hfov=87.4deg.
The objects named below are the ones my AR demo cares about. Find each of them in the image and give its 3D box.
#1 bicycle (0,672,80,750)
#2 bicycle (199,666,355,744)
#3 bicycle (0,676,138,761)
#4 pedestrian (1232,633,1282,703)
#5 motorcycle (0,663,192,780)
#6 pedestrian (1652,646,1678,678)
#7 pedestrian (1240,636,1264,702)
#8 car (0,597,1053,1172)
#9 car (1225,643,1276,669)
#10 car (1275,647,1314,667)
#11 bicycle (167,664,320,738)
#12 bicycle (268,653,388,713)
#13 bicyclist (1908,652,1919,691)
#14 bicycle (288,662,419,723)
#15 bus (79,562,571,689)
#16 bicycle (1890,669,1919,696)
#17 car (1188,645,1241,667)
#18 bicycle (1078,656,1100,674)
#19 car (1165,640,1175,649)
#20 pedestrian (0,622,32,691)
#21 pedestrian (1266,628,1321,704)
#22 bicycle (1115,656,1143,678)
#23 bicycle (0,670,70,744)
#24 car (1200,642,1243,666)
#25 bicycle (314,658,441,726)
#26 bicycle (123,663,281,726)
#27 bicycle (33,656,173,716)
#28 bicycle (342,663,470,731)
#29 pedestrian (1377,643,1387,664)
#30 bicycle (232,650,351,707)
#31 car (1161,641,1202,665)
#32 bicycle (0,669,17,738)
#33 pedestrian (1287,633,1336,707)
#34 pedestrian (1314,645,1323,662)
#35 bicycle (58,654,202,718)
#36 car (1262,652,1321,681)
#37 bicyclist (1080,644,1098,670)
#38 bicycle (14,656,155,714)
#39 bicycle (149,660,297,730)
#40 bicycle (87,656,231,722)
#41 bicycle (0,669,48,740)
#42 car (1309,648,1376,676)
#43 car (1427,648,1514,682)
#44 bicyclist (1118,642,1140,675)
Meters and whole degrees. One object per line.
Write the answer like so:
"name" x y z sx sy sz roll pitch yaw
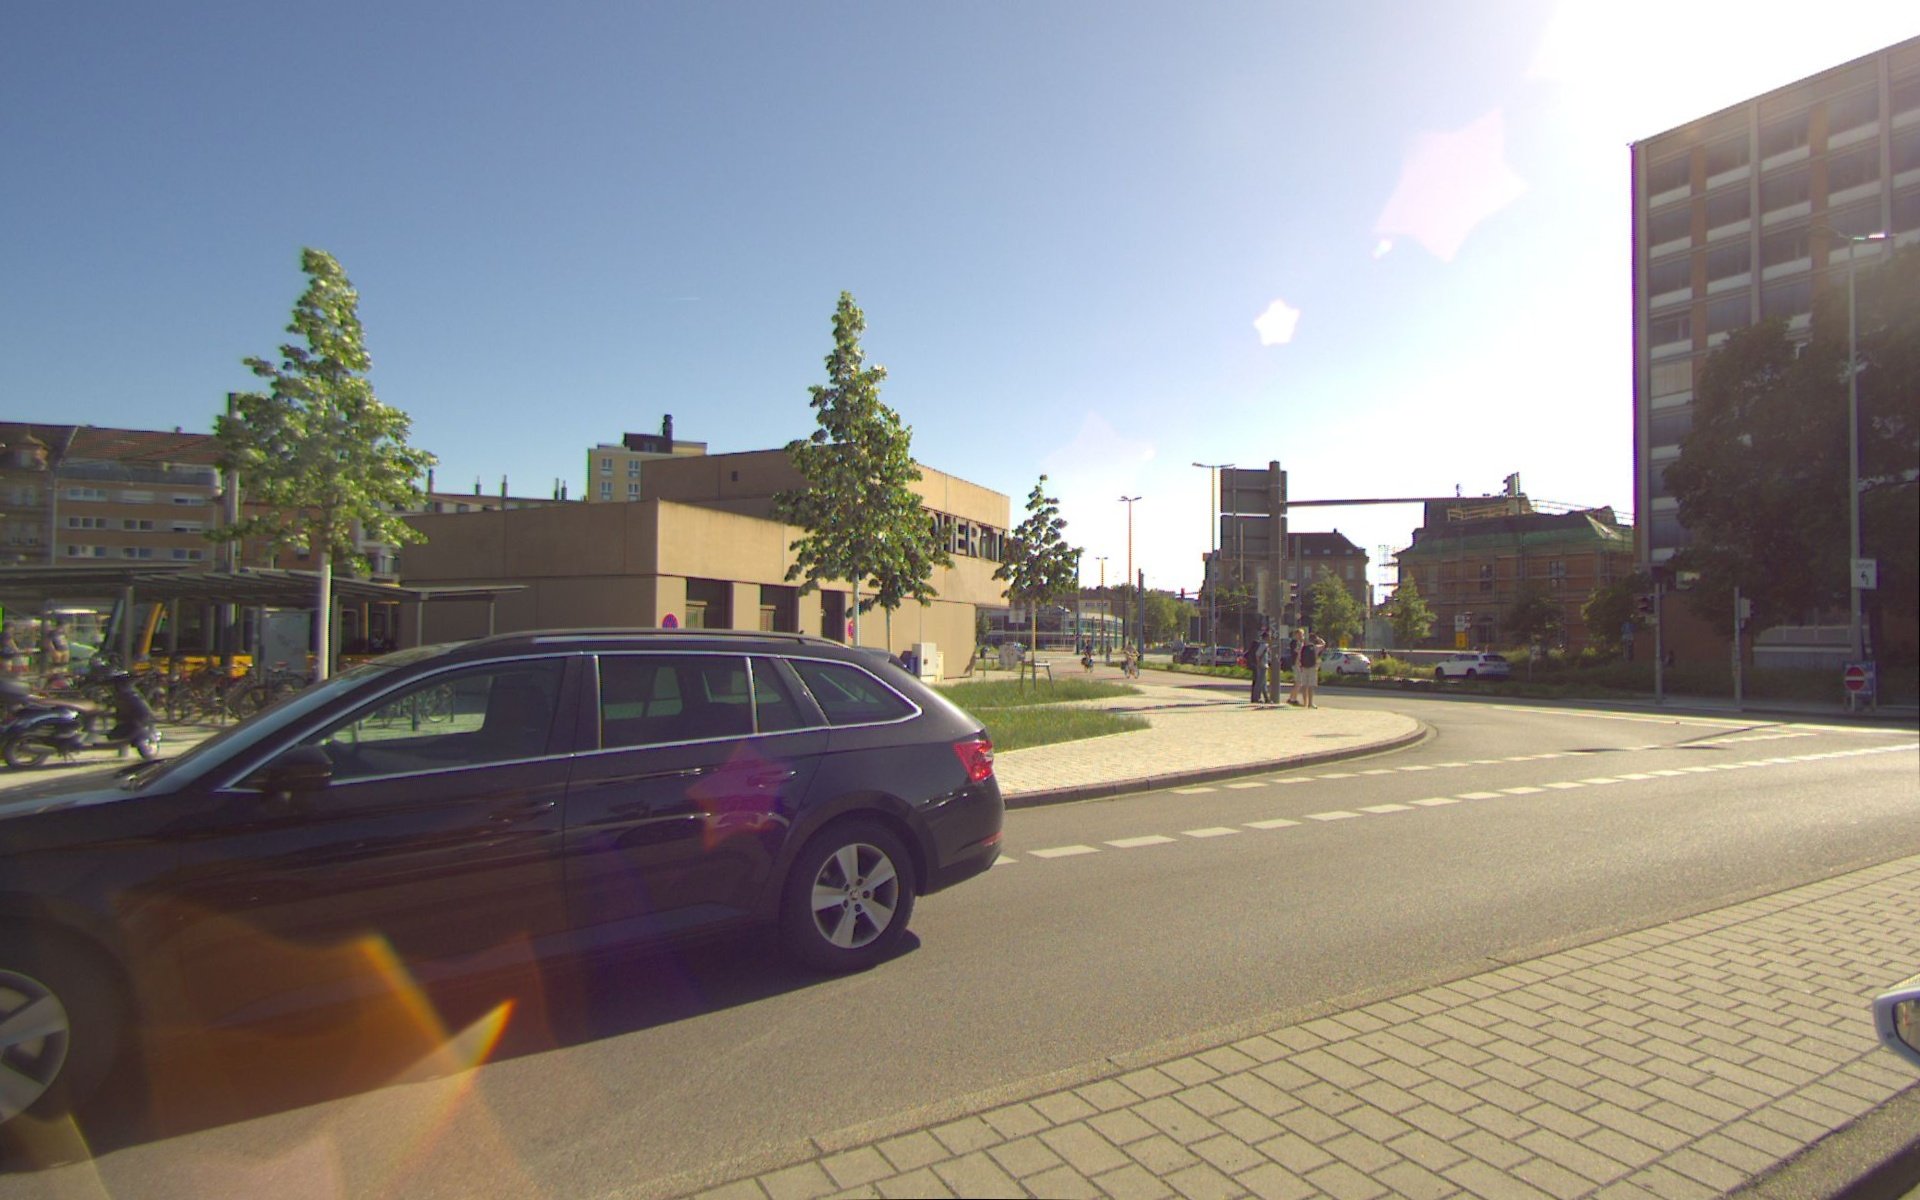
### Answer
"bicycle" -13.231 1.543 13.813 0.399 0.985 1.683 2 0 22
"bicycle" -10.904 1.649 16.133 0.524 1.051 2.070 2 0 26
"bicycle" -12.204 1.573 13.578 0.399 0.985 1.683 2 0 22
"pedestrian" 7.537 1.728 25.499 0.831 1.711 0.896 5 -5 -34
"motorcycle" -10.850 1.447 12.476 0.558 1.235 2.087 0 -1 21
"pedestrian" 35.222 3.111 50.176 0.548 1.591 0.863 -1 -4 -2
"pedestrian" 7.843 1.845 27.016 0.585 1.751 0.580 0 -2 14
"car" -1.981 0.842 4.240 4.739 1.524 1.802 2 -4 -36
"car" 20.041 3.839 69.431 1.810 1.653 4.382 1 -2 -8
"car" 25.633 4.370 77.113 1.708 1.454 3.849 0 -2 -1
"bicycle" -11.968 1.653 16.854 0.524 1.051 2.070 2 0 26
"bicycle" -12.743 1.647 20.328 0.524 1.051 2.070 2 0 26
"bicyclist" 36.307 2.698 37.664 0.589 1.448 0.936 1 -2 -18
"bicycle" -11.764 1.766 19.572 0.679 1.011 2.140 2 0 26
"bus" -18.438 0.871 31.348 2.810 3.112 13.620 0 -2 25
"bicycle" 36.305 3.129 37.652 0.589 0.976 2.075 1 -2 -17
"car" 17.270 3.764 68.324 1.810 1.406 4.895 1 -2 -8
"bicycle" 7.080 3.567 55.150 0.674 0.930 1.989 1 -4 -8
"car" 44.947 9.502 215.002 1.959 2.040 4.003 0 -2 7
"pedestrian" -27.229 1.607 28.673 0.755 1.942 0.803 0 -2 23
"pedestrian" 8.206 1.643 24.761 1.085 1.822 0.703 2 -5 -15
"bicycle" 7.923 3.124 47.142 0.728 1.008 1.988 1 -4 -8
"bicycle" -13.697 1.531 14.174 0.399 0.985 1.683 2 0 22
"car" 19.620 4.034 75.503 1.809 1.653 4.386 1 -2 -4
"bicycle" -10.798 1.683 18.699 0.594 1.093 2.053 2 0 25
"bicycle" -13.710 1.677 18.261 0.673 0.956 2.233 2 0 25
"bicycle" -16.884 1.677 19.849 0.524 1.051 2.070 -2 -2 26
"bicycle" -9.968 1.721 18.161 0.524 1.051 2.070 2 0 26
"pedestrian" 32.391 4.114 77.066 0.636 1.637 0.548 0 -2 10
"bicycle" -13.918 1.615 20.993 0.524 1.051 2.070 2 0 26
"car" 16.523 3.938 75.122 1.809 1.653 4.386 1 -2 -4
"bicycle" -14.719 1.541 14.425 0.399 0.985 1.683 2 0 22
"pedestrian" 8.376 1.679 23.931 0.777 1.711 0.791 3 -5 -20
"pedestrian" 38.597 5.784 108.154 0.645 1.758 0.680 0 -2 1
"bicycle" -15.903 1.623 19.320 0.524 1.051 2.070 5 1 26
"car" 20.700 4.132 62.886 1.810 1.653 4.382 1 -2 -8
"bicyclist" 7.085 3.144 55.176 0.674 1.440 1.127 1 -4 -7
"bicycle" -17.773 1.697 20.457 0.524 1.051 2.070 5 0 26
"bicycle" -12.899 1.629 17.657 0.524 1.051 2.070 2 0 26
"bicycle" -15.018 1.640 18.906 0.524 1.051 2.070 5 1 26
"bicycle" -14.201 1.525 14.375 0.399 0.985 1.683 2 0 22
"car" 21.210 3.434 55.875 1.712 1.454 3.842 1 -2 -11
"car" 27.393 3.455 54.098 1.809 1.653 4.835 1 -2 -6
"bicyclist" 7.932 2.754 47.160 0.728 1.519 1.071 1 -4 -9
